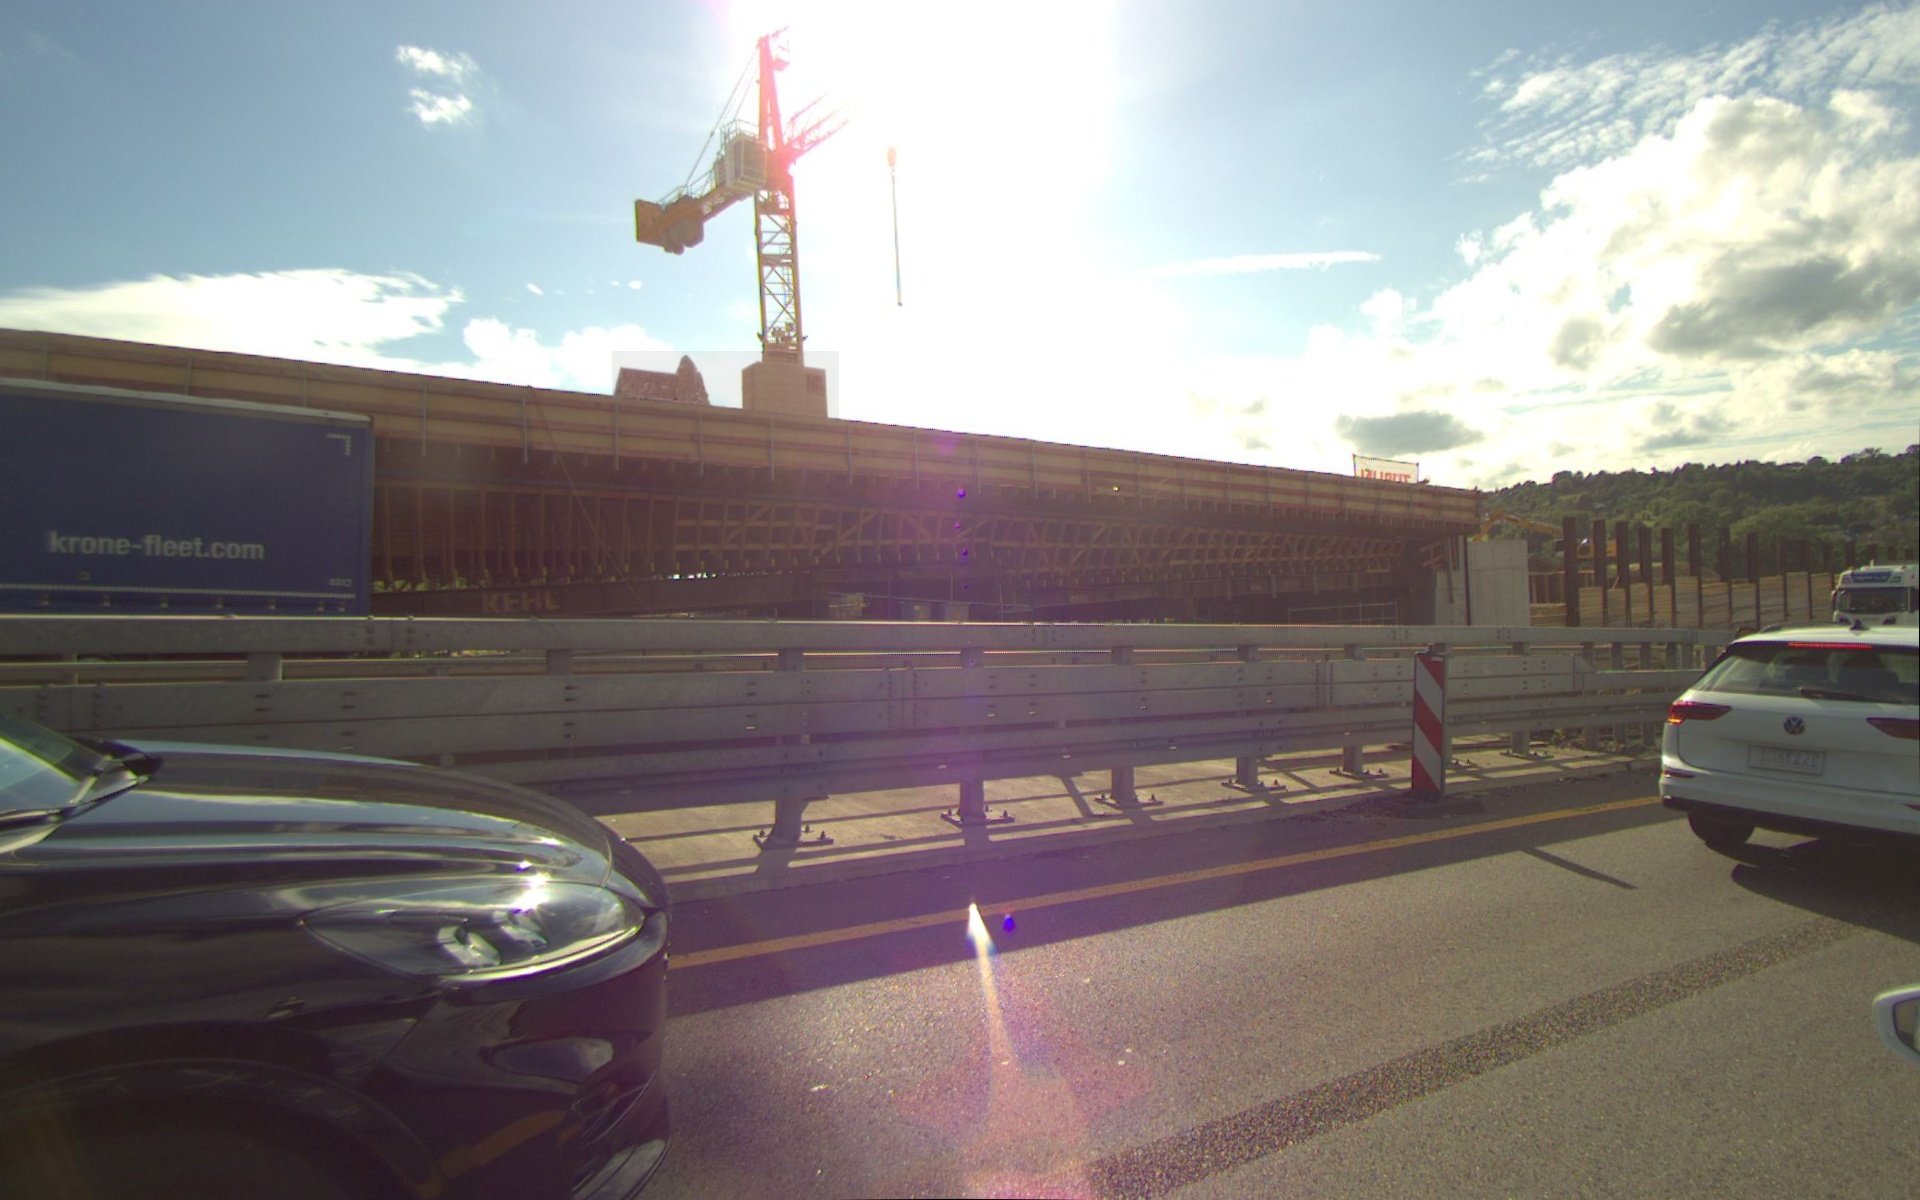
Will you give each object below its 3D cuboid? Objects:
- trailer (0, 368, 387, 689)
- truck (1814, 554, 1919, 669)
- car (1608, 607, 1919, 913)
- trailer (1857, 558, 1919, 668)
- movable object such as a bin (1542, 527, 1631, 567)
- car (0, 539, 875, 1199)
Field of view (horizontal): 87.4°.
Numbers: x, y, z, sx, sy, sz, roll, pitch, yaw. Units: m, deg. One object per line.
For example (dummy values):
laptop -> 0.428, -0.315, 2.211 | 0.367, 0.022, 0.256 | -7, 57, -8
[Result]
trailer -> -14.277, -0.933, 11.426 | 13.374, 3.715, 2.848 | 2, 0, -31
truck -> 36.739, 0.498, 39.082 | 5.879, 4.192, 2.708 | 2, 0, -20
car -> 6.398, 0.879, 6.590 | 4.462, 1.510, 1.762 | 2, -2, -30
trailer -> 42.774, 0.721, 41.270 | 13.602, 4.211, 2.684 | 2, 0, -20
movable object such as a bin -> 60.333, -5.044, 96.881 | 4.439, 3.314, 5.743 | 2, 0, -18
car -> -2.500, 0.637, 1.579 | 4.334, 1.563, 1.790 | 3, 1, -31
